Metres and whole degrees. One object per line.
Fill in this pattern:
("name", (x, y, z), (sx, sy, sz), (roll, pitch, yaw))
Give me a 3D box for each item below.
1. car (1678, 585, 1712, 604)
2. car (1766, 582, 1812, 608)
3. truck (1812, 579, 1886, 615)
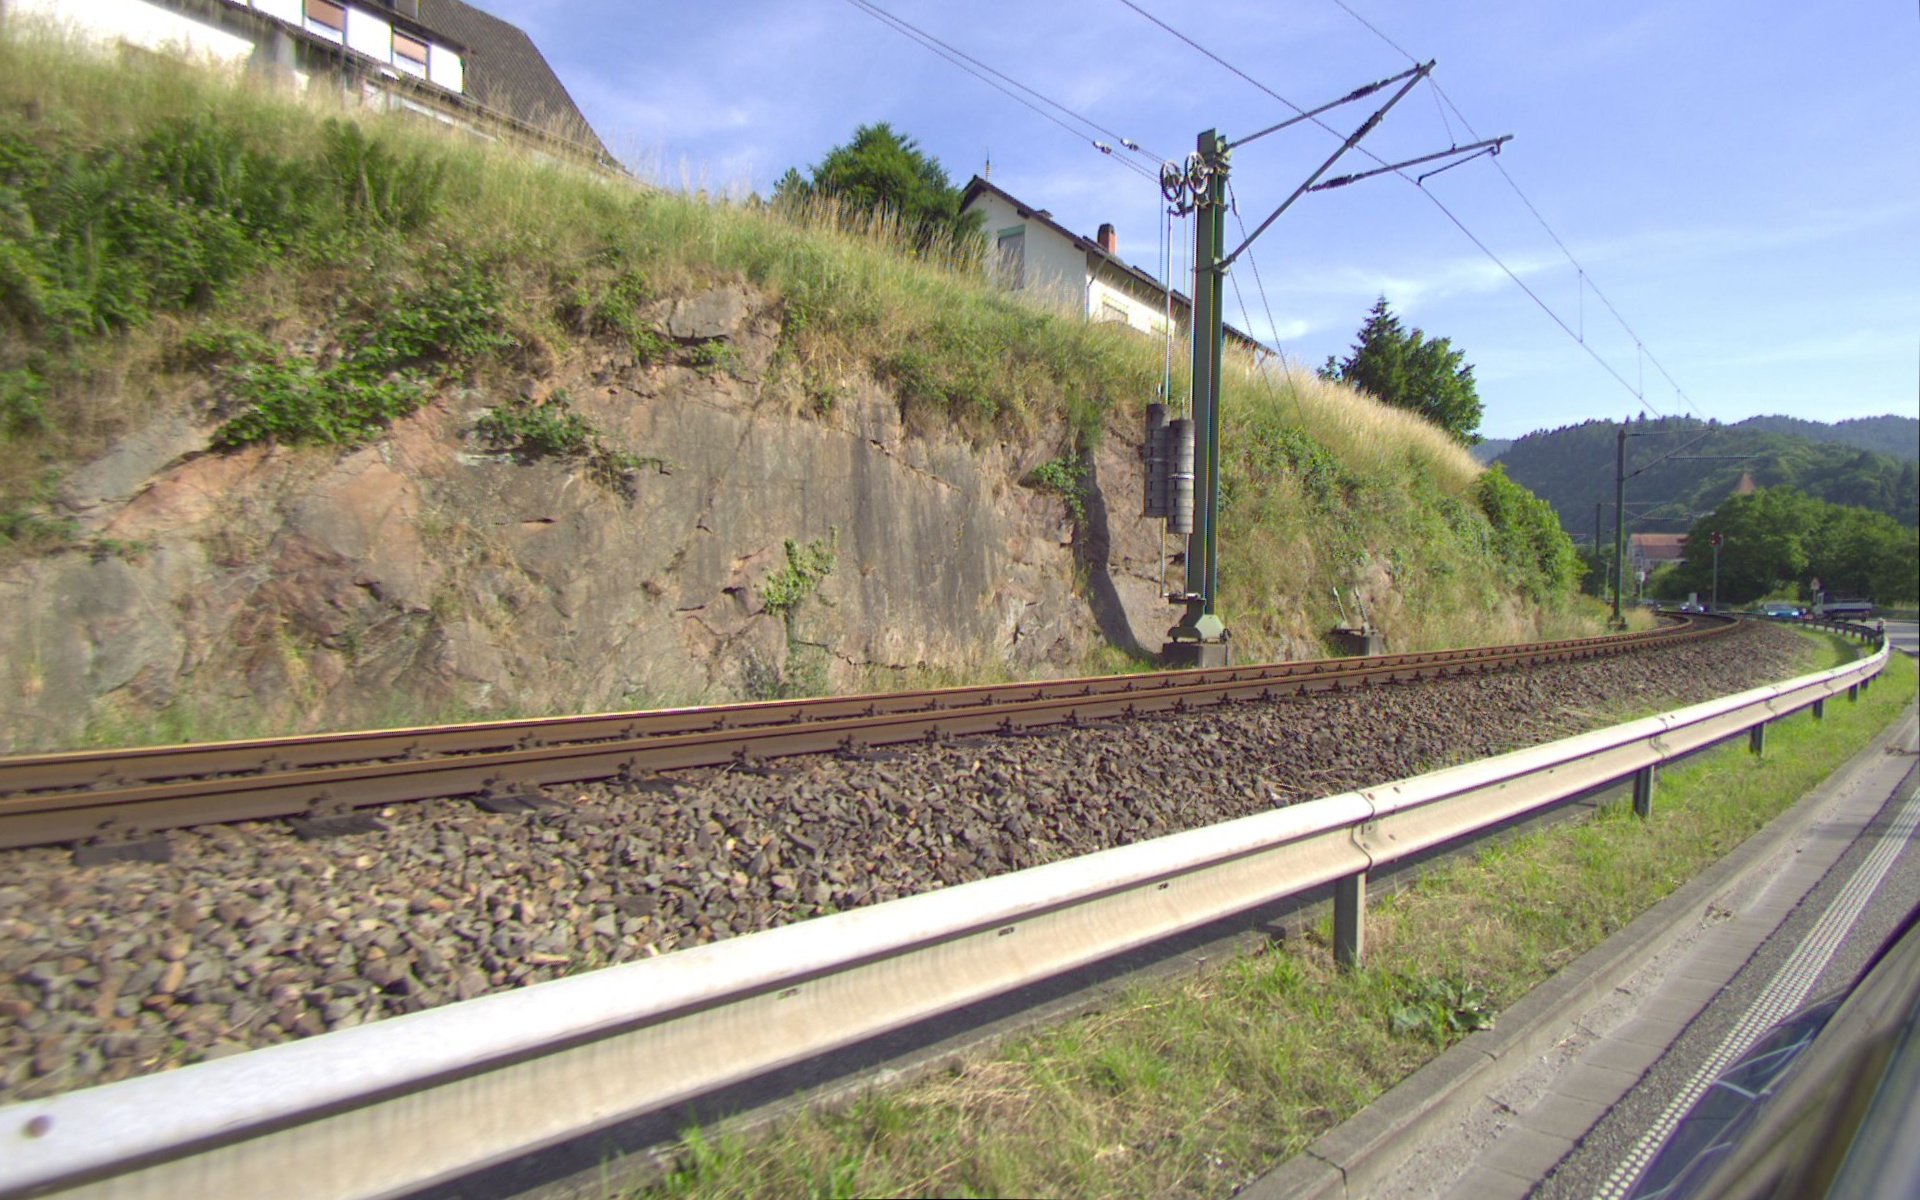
("car", (73.059, -0.561, 100.639), (1.866, 1.767, 4.145), (0, 0, 24))
("car", (59.687, -0.362, 72.940), (1.870, 1.767, 4.135), (0, 0, 30))
("truck", (64.538, -0.184, 73.620), (2.141, 2.396, 6.687), (-2, -1, 25))
